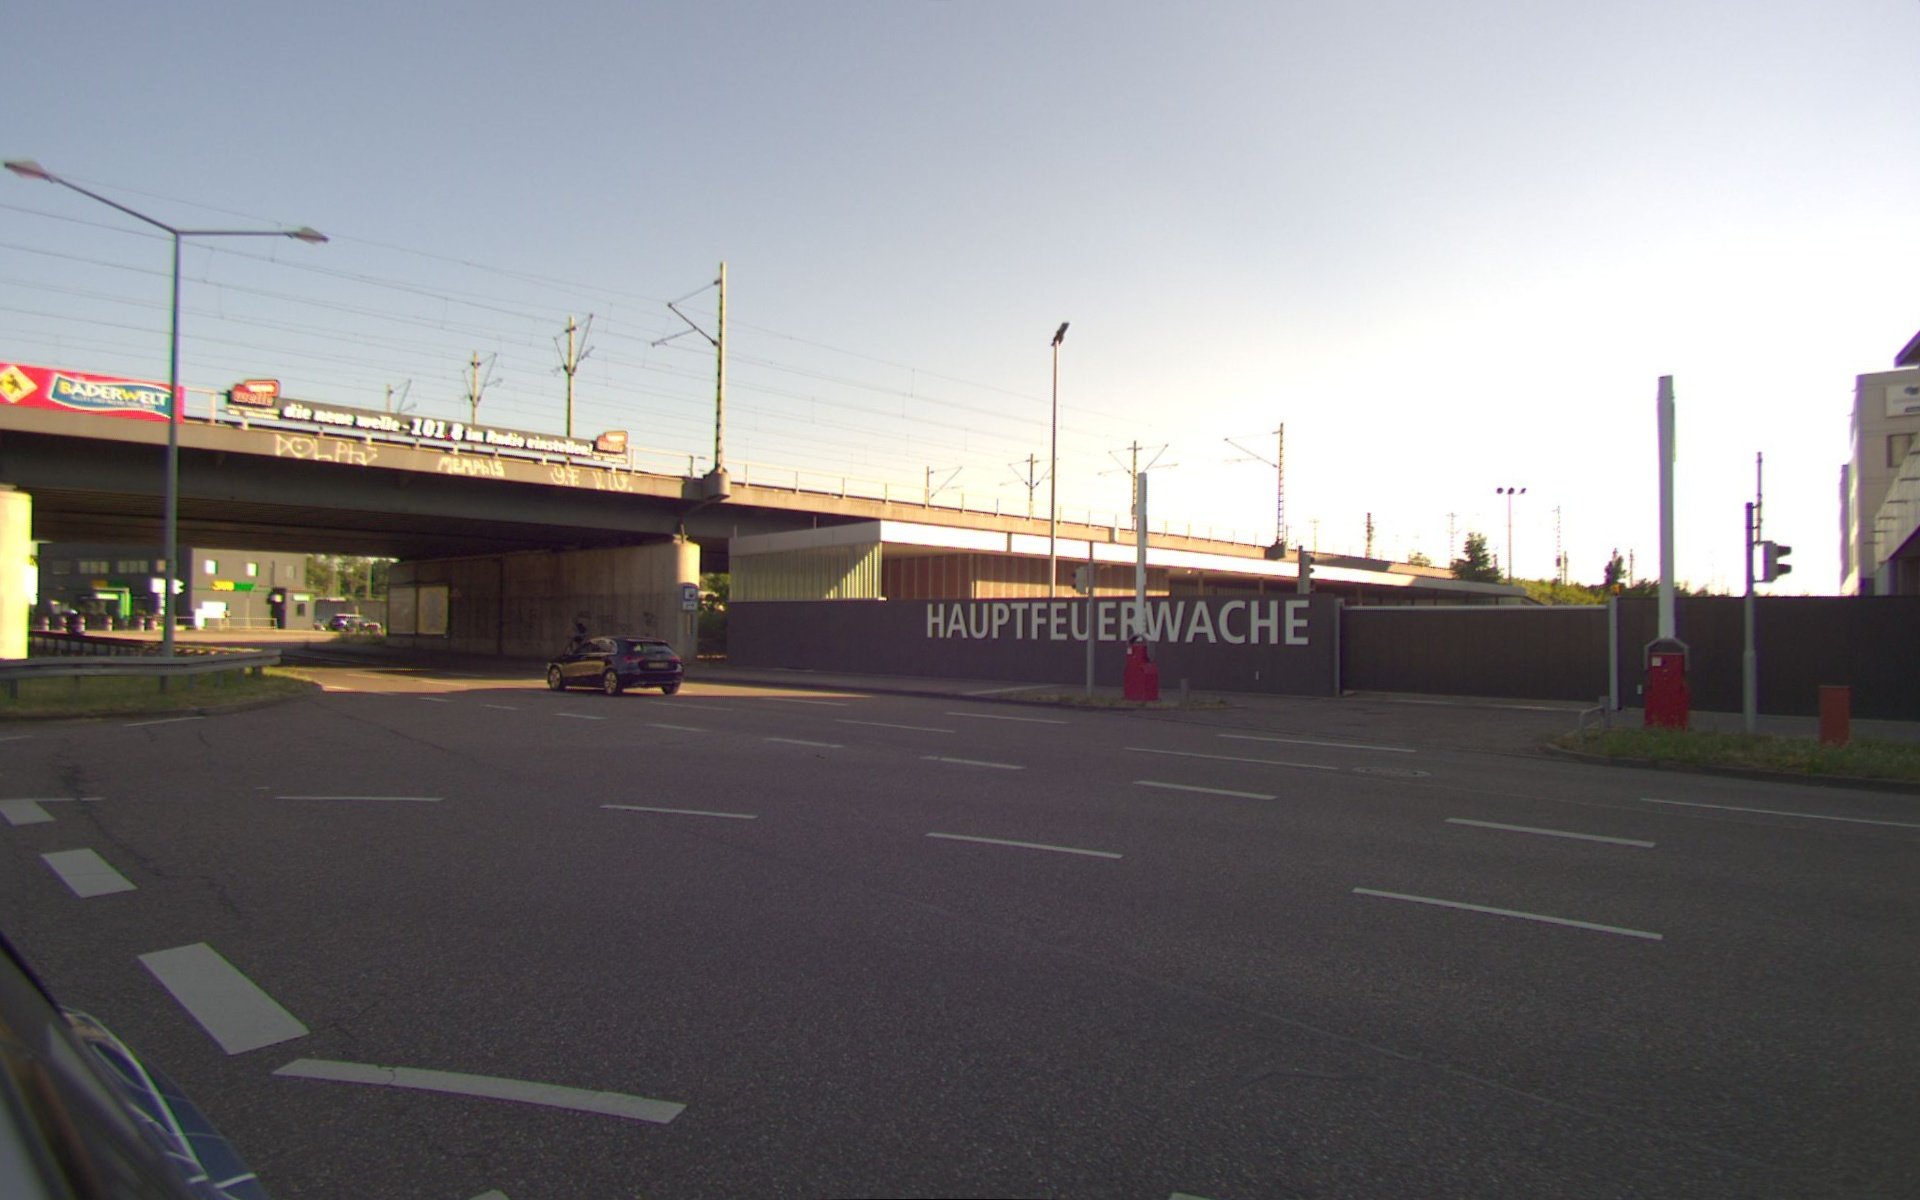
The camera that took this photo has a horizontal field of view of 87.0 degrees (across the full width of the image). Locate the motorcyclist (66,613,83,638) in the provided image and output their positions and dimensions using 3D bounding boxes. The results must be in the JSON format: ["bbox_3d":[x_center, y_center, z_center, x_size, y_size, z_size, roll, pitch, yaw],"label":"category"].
[{"bbox_3d":[-50.845,1.461,58.105,0.868,1.434,0.673,0,0,45],"label":"motorcyclist"}]

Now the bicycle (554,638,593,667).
[{"bbox_3d":[-15.871,2.140,41.490,0.697,1.165,2.082,0,-2,-45],"label":"bicycle"}]

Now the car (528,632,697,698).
[{"bbox_3d":[-8.749,1.608,25.342,4.345,1.411,1.973,0,-5,40],"label":"car"}]

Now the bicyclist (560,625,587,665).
[{"bbox_3d":[-15.823,1.847,41.418,0.716,1.575,0.940,0,0,-45],"label":"bicyclist"}]

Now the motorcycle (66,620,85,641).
[{"bbox_3d":[-50.829,1.752,58.130,2.240,1.165,0.673,0,0,45],"label":"motorcycle"}]
